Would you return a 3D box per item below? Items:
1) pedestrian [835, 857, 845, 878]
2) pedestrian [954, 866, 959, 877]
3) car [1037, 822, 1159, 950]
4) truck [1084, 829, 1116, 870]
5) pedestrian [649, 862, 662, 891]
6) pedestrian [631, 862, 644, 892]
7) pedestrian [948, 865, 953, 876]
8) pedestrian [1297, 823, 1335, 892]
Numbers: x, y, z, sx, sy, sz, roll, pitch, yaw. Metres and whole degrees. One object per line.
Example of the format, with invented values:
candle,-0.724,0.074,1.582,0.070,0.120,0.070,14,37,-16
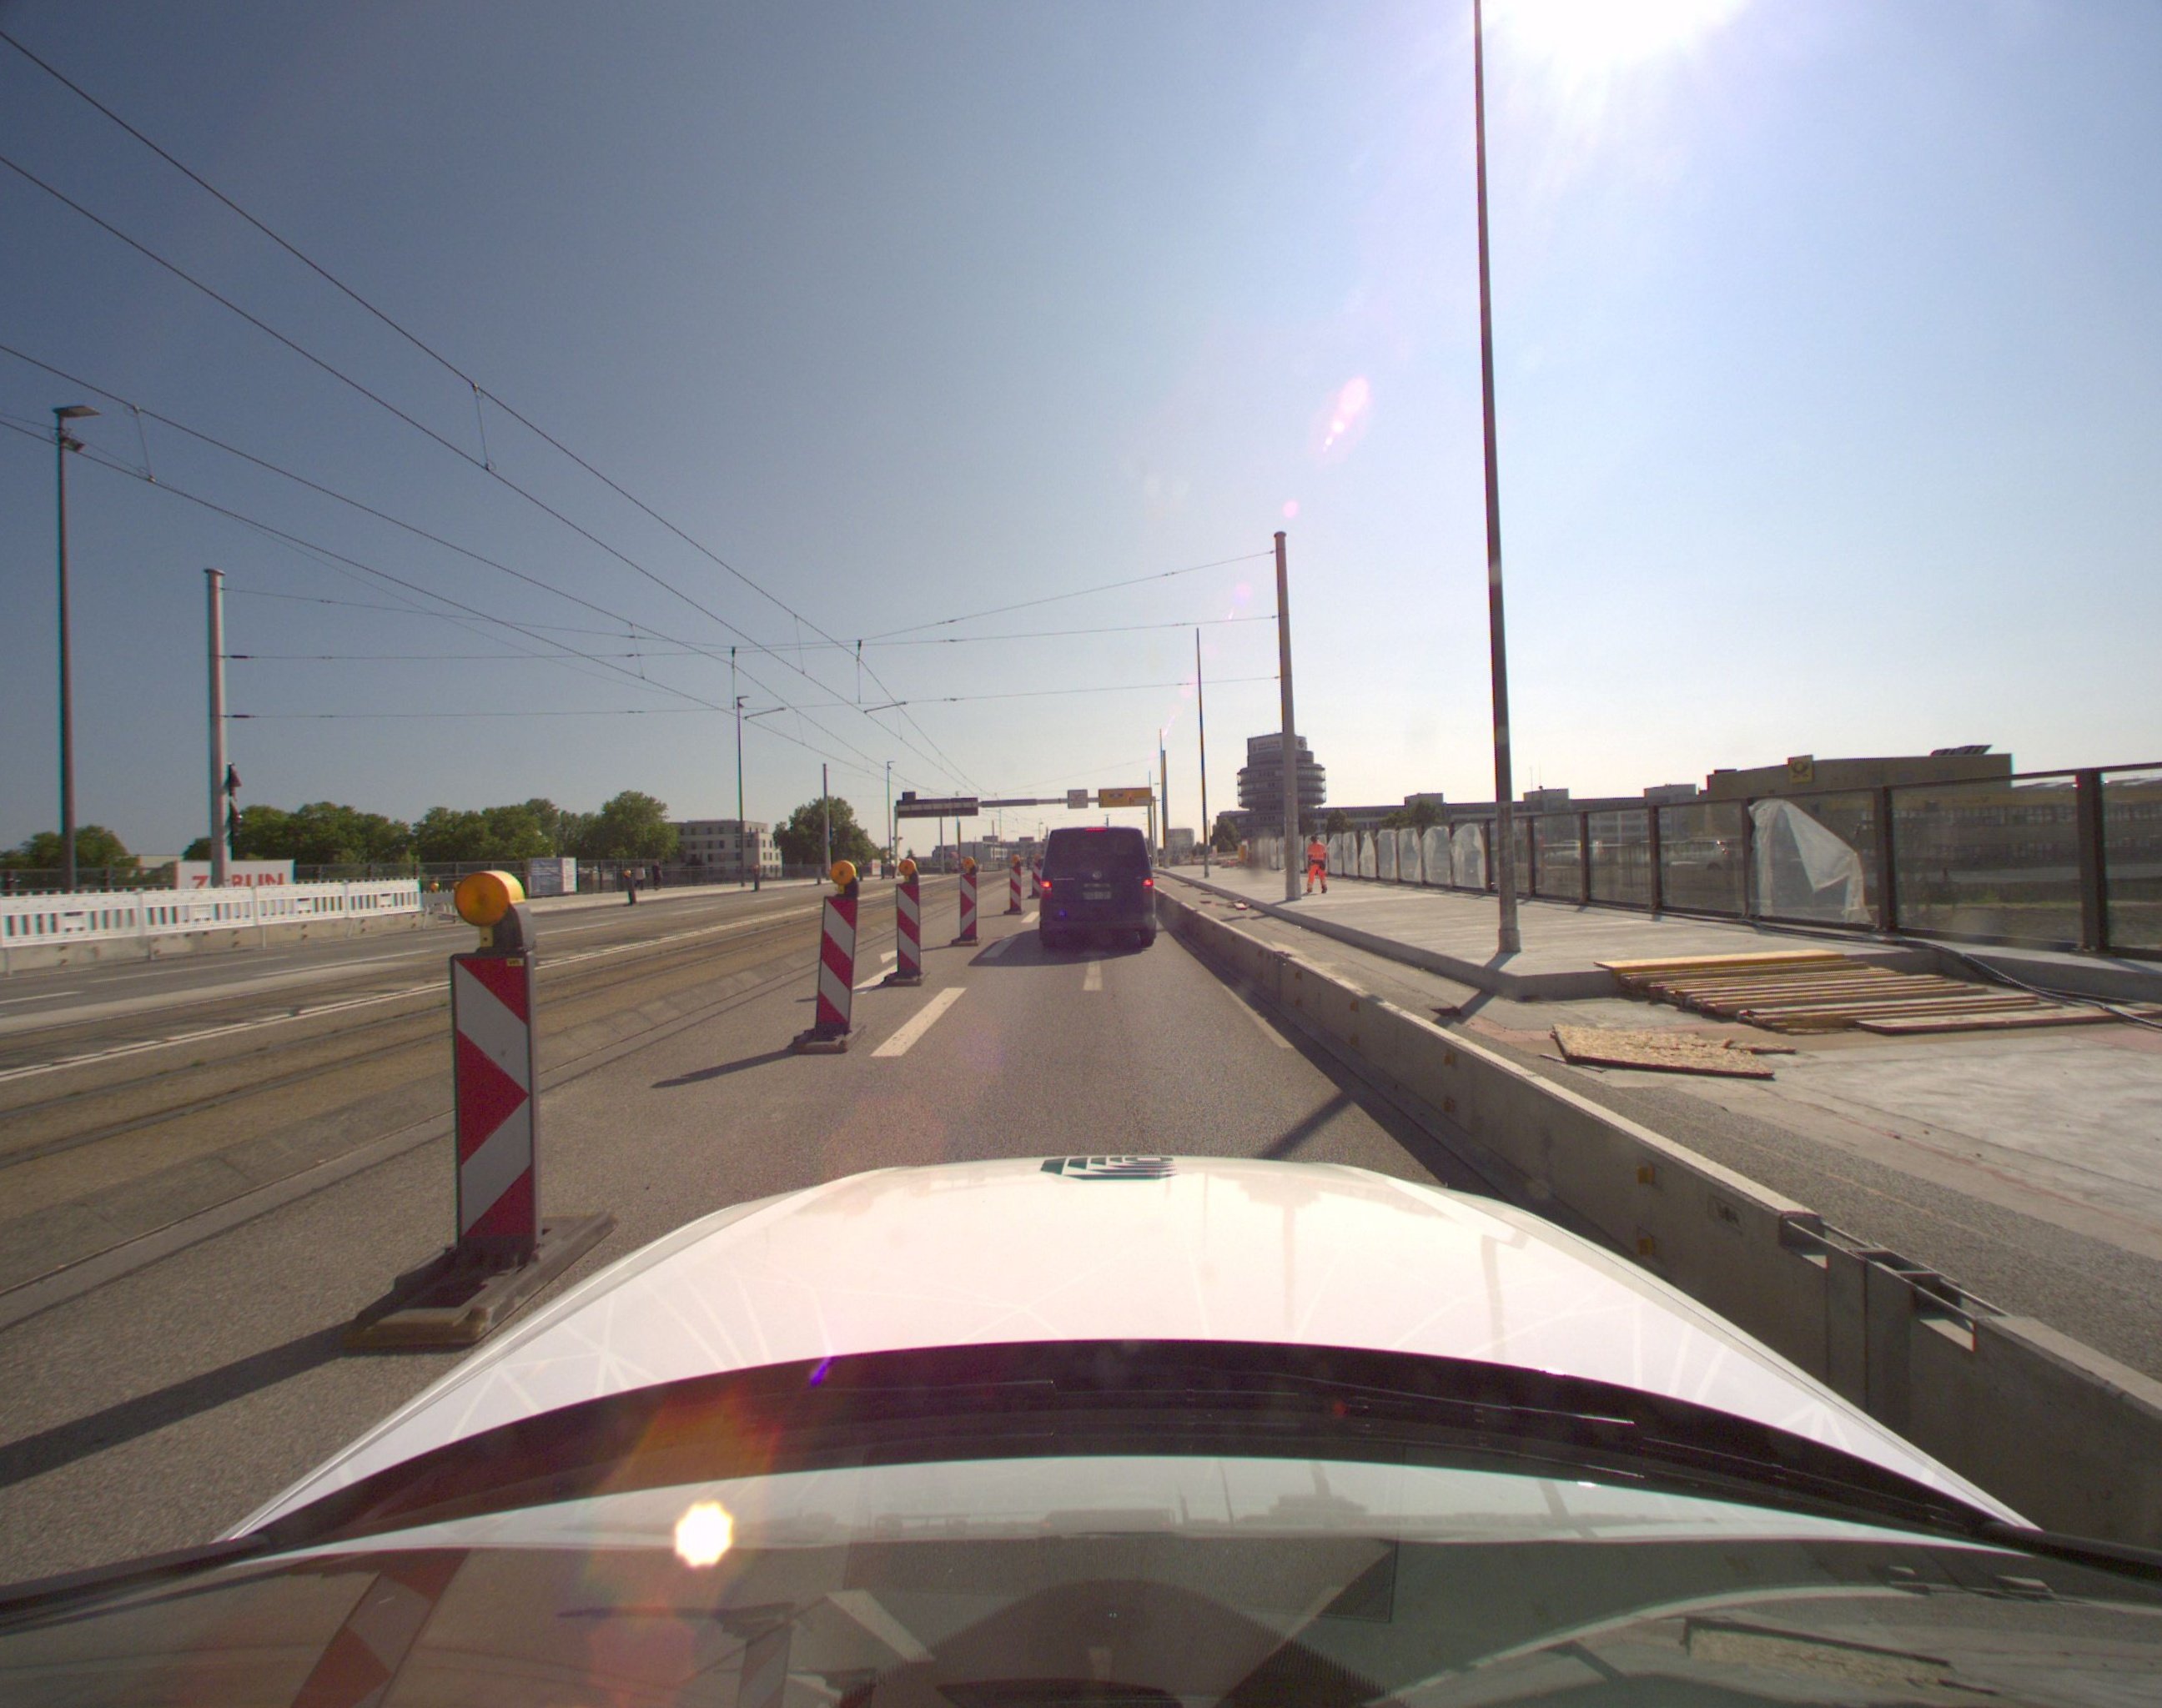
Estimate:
pedestrian,-22.052,1.226,74.483,0.632,1.893,0.752,-1,0,1
pedestrian,-20.233,2.785,132.454,0.632,1.774,0.752,-1,0,1
car,0.241,0.494,14.531,1.810,1.905,4.053,-2,0,-1
truck,1.620,-0.408,69.793,2.451,3.134,11.219,-2,1,1
pedestrian,-24.663,1.296,47.158,0.493,1.694,0.474,-1,-1,1
pedestrian,-25.674,1.319,47.189,0.493,1.694,0.474,-1,-1,1
pedestrian,-21.239,2.734,132.326,0.632,1.752,0.752,-1,0,0
pedestrian,6.843,0.095,23.758,0.779,1.935,0.799,-3,-1,1
